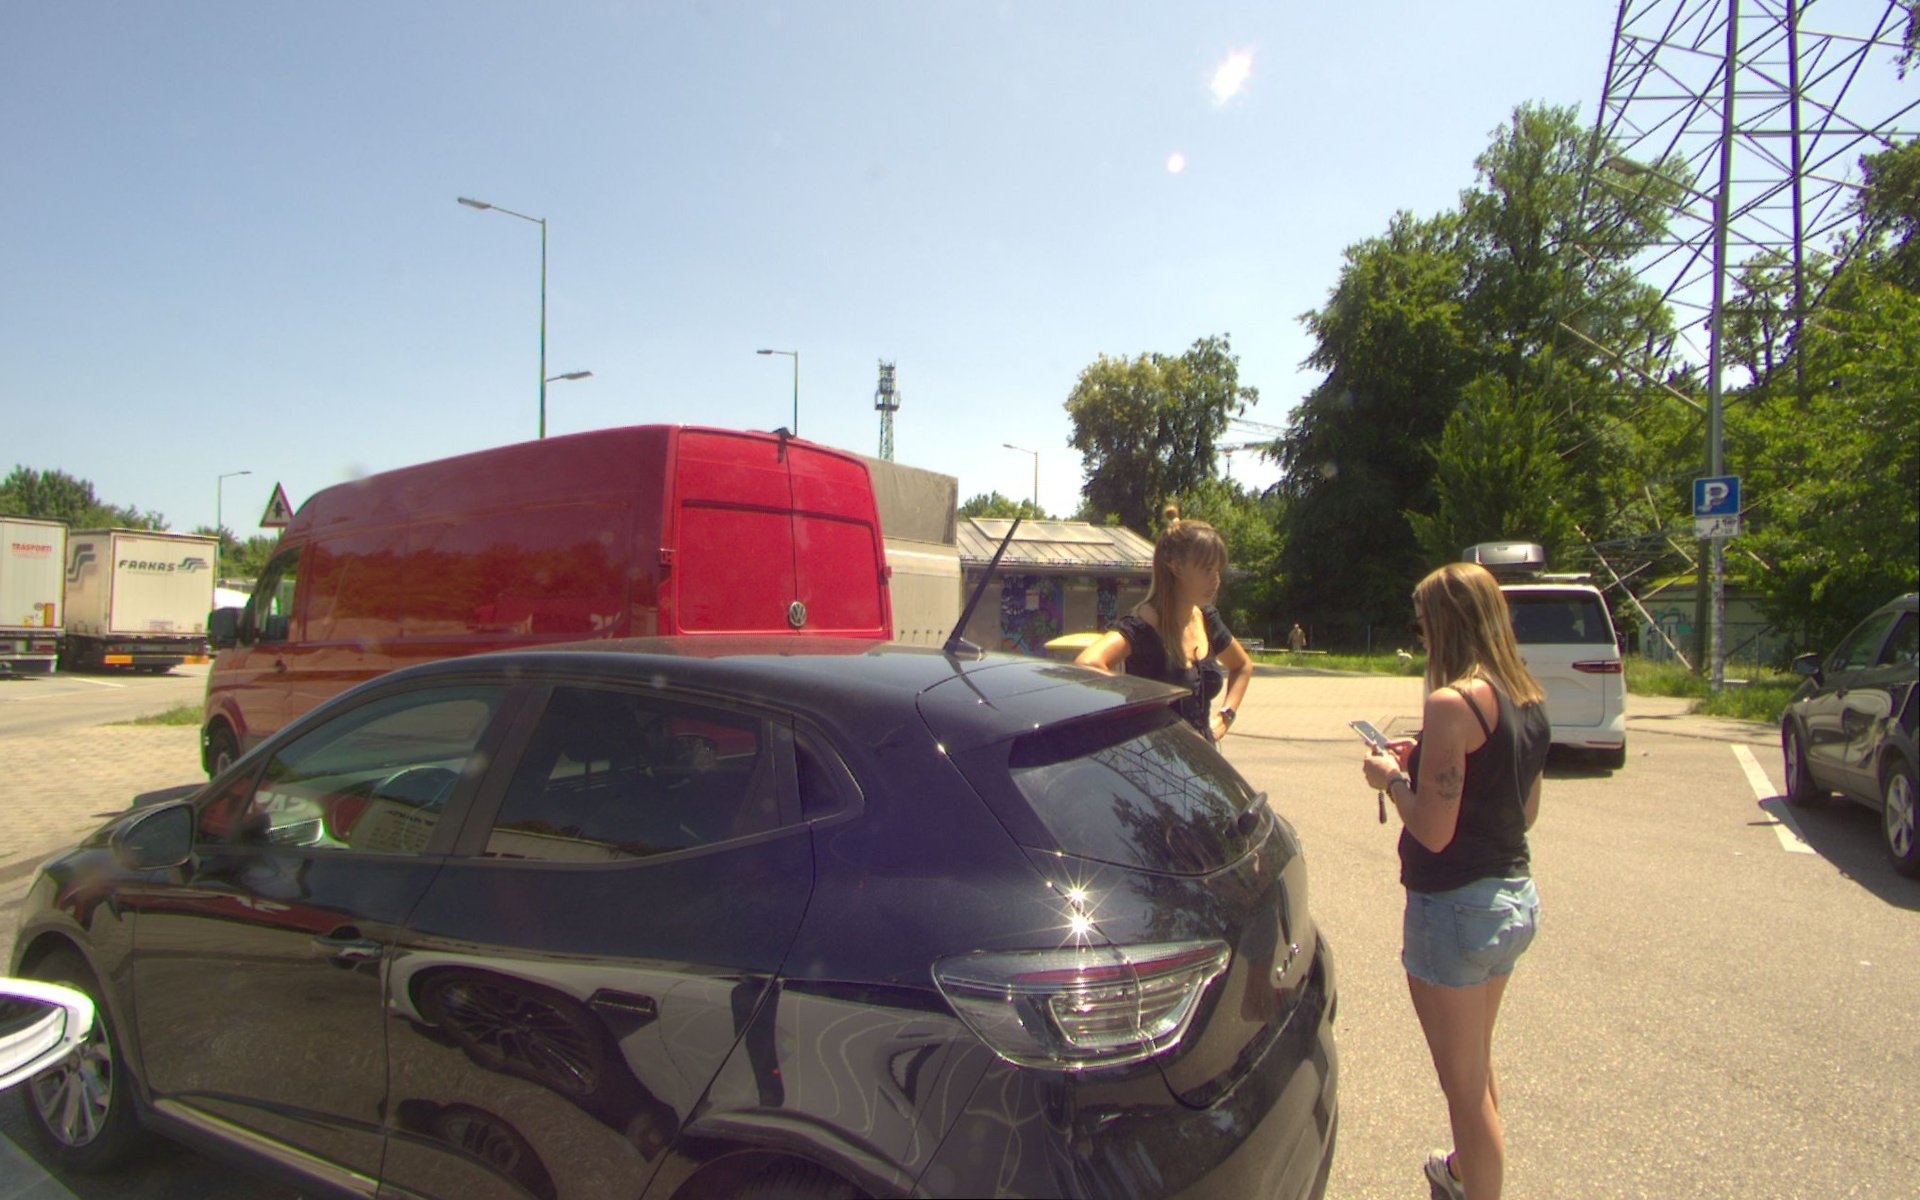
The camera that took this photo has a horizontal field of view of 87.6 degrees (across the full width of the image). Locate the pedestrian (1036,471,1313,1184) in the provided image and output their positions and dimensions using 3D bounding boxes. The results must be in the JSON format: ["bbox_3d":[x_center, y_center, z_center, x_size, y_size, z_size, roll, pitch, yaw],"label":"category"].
[{"bbox_3d":[0.704,0.614,3.155,0.481,1.884,0.906,0,0,39],"label":"pedestrian"}]

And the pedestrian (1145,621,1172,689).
[{"bbox_3d":[4.067,1.117,20.516,0.439,1.362,0.477,0,0,23],"label":"pedestrian"}]

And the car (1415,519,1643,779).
[{"bbox_3d":[6.670,0.510,11.879,1.901,2.401,4.954,1,-1,29],"label":"car"}]

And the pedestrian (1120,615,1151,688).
[{"bbox_3d":[3.638,1.062,20.754,0.521,1.478,0.576,0,0,23],"label":"pedestrian"}]

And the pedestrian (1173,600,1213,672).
[{"bbox_3d":[6.293,0.968,27.080,0.762,1.903,0.840,0,-1,-11],"label":"pedestrian"}]

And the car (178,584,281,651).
[{"bbox_3d":[-29.925,0.749,41.026,3.943,2.632,2.111,-1,-2,32],"label":"car"}]

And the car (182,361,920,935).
[{"bbox_3d":[-3.380,0.249,7.326,6.298,2.668,1.988,0,-1,36],"label":"car"}]

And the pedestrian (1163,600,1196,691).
[{"bbox_3d":[4.378,0.892,19.961,0.520,1.783,0.651,0,0,23],"label":"pedestrian"}]

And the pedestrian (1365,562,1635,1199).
[{"bbox_3d":[1.211,0.739,2.275,0.478,1.615,0.501,0,0,29],"label":"pedestrian"}]

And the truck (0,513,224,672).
[{"bbox_3d":[-27.097,-0.028,31.207,11.800,4.279,2.582,-1,-2,32],"label":"truck"}]

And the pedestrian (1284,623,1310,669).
[{"bbox_3d":[15.122,2.069,44.968,0.955,2.039,0.829,0,-1,10],"label":"pedestrian"}]

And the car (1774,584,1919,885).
[{"bbox_3d":[6.838,0.775,6.443,1.811,1.638,4.149,0,-1,30],"label":"car"}]

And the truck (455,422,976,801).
[{"bbox_3d":[-2.497,0.171,9.938,4.751,2.863,2.514,-1,-2,34],"label":"truck"}]

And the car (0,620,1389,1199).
[{"bbox_3d":[-0.849,0.823,2.781,3.629,1.476,1.776,-1,-2,28],"label":"car"}]

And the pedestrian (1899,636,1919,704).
[{"bbox_3d":[17.193,1.226,17.635,0.694,1.178,0.787,-1,-1,22],"label":"pedestrian"}]

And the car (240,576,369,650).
[{"bbox_3d":[-29.455,0.594,44.943,6.259,3.115,2.495,0,-1,32],"label":"car"}]

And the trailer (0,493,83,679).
[{"bbox_3d":[-28.550,-0.343,27.844,12.642,4.511,2.677,0,-1,32],"label":"trailer"}]
